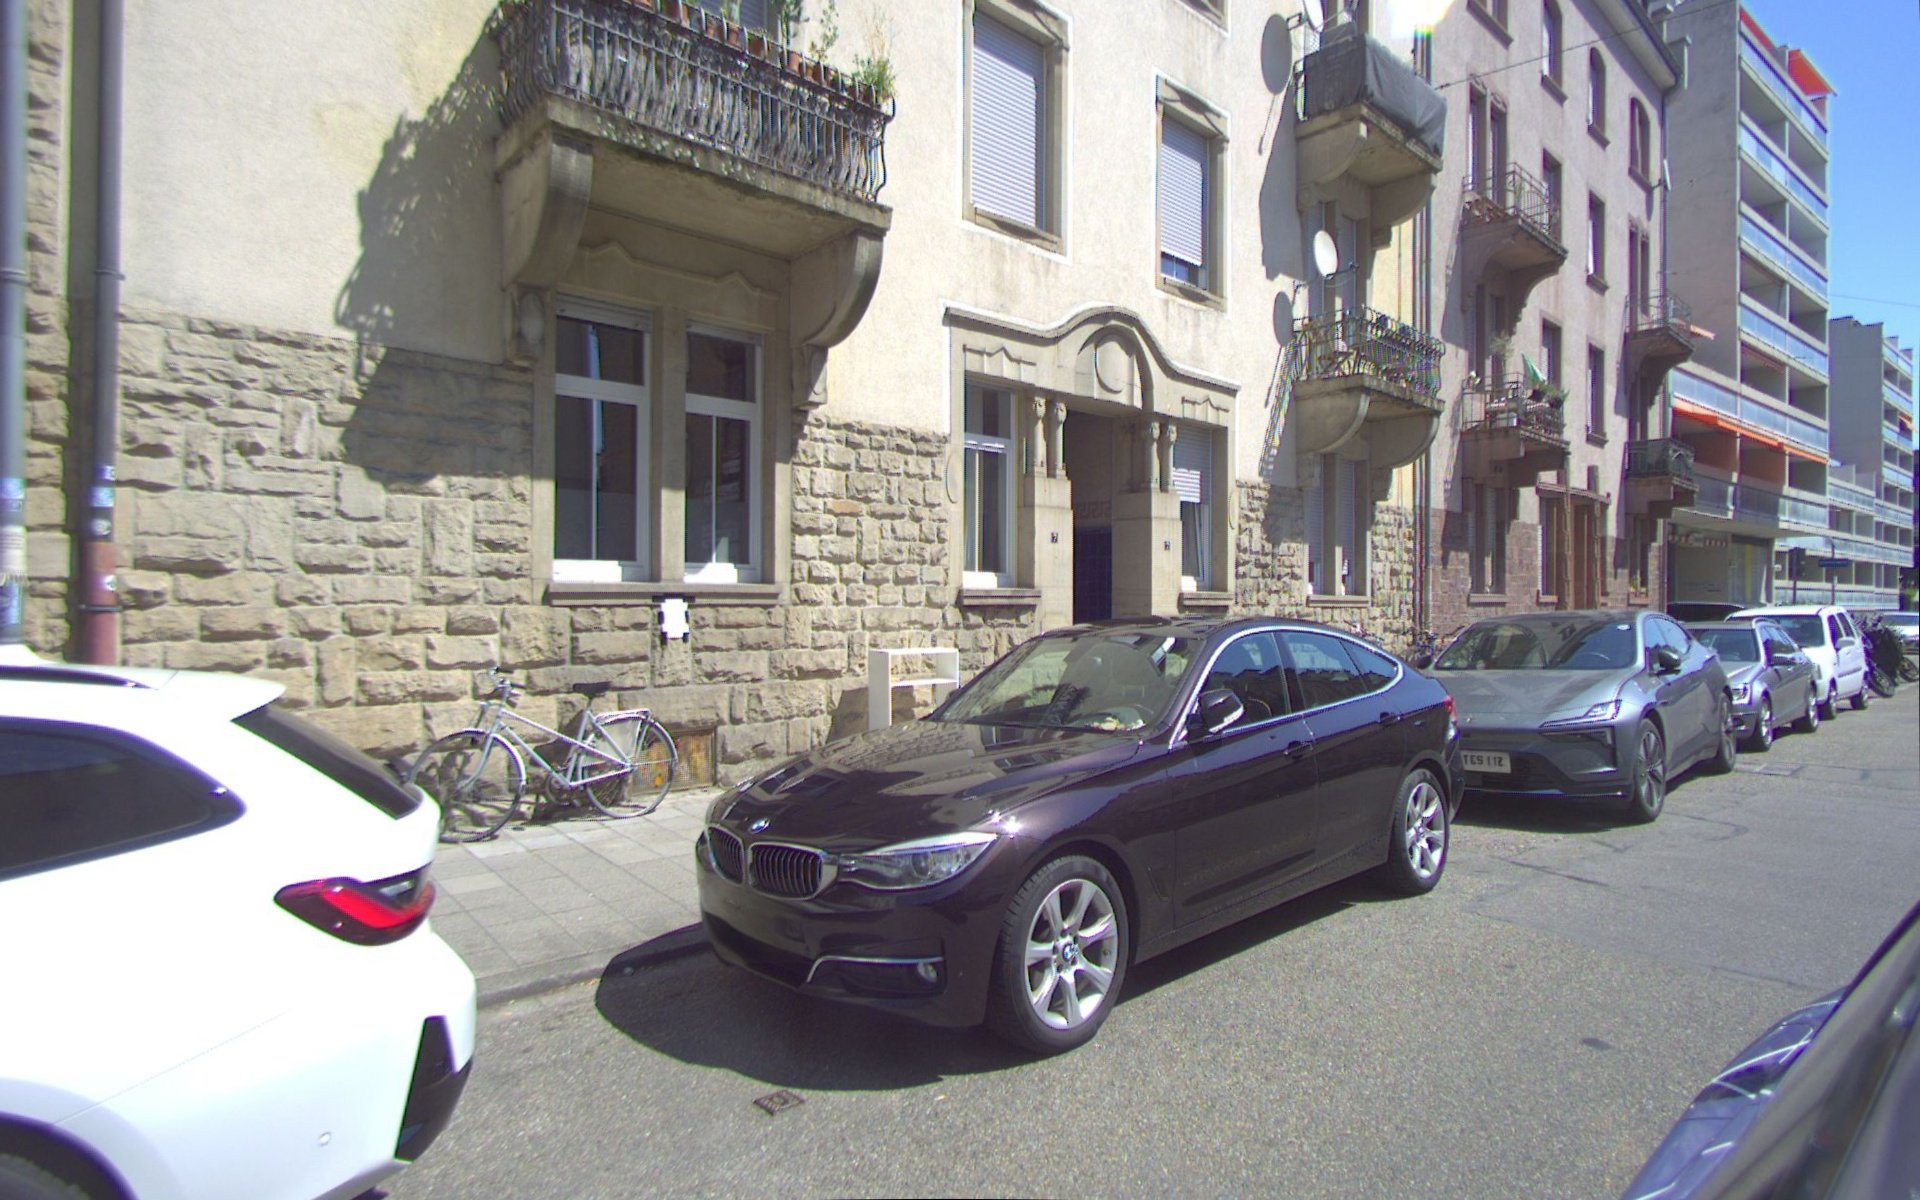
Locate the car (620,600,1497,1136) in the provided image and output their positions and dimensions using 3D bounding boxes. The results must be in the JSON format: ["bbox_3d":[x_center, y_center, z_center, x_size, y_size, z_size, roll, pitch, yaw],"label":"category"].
[{"bbox_3d":[0.870,0.761,5.066,4.588,1.476,1.739,0,1,-42],"label":"car"}]

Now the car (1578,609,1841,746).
[{"bbox_3d":[9.430,0.823,12.597,4.276,1.375,1.789,0,0,-41],"label":"car"}]

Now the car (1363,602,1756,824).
[{"bbox_3d":[5.379,0.746,8.804,4.415,1.450,1.824,0,-1,-44],"label":"car"}]

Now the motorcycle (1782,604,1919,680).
[{"bbox_3d":[18.406,0.867,20.814,2.157,1.448,0.732,-3,-2,9],"label":"motorcycle"}]

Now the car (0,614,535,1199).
[{"bbox_3d":[-3.224,0.809,1.476,4.515,1.471,1.719,0,-2,-39],"label":"car"}]

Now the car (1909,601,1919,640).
[{"bbox_3d":[41.715,0.856,42.950,3.930,1.571,1.716,0,1,-41],"label":"car"}]

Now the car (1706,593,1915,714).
[{"bbox_3d":[13.269,0.715,15.727,4.016,1.642,1.652,0,1,-37],"label":"car"}]

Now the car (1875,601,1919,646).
[{"bbox_3d":[34.367,0.816,36.377,3.835,1.512,1.752,0,1,-41],"label":"car"}]

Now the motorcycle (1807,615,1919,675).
[{"bbox_3d":[20.164,0.986,22.230,2.287,1.216,0.675,-3,-3,8],"label":"motorcycle"}]

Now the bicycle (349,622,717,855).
[{"bbox_3d":[-2.687,0.794,6.549,2.088,1.204,0.641,0,4,-41],"label":"bicycle"}]

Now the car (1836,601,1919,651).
[{"bbox_3d":[30.636,0.811,33.663,3.835,1.512,1.752,0,1,-41],"label":"car"}]

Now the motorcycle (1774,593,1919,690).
[{"bbox_3d":[16.292,0.743,18.370,2.157,1.643,0.764,-3,-3,9],"label":"motorcycle"}]
